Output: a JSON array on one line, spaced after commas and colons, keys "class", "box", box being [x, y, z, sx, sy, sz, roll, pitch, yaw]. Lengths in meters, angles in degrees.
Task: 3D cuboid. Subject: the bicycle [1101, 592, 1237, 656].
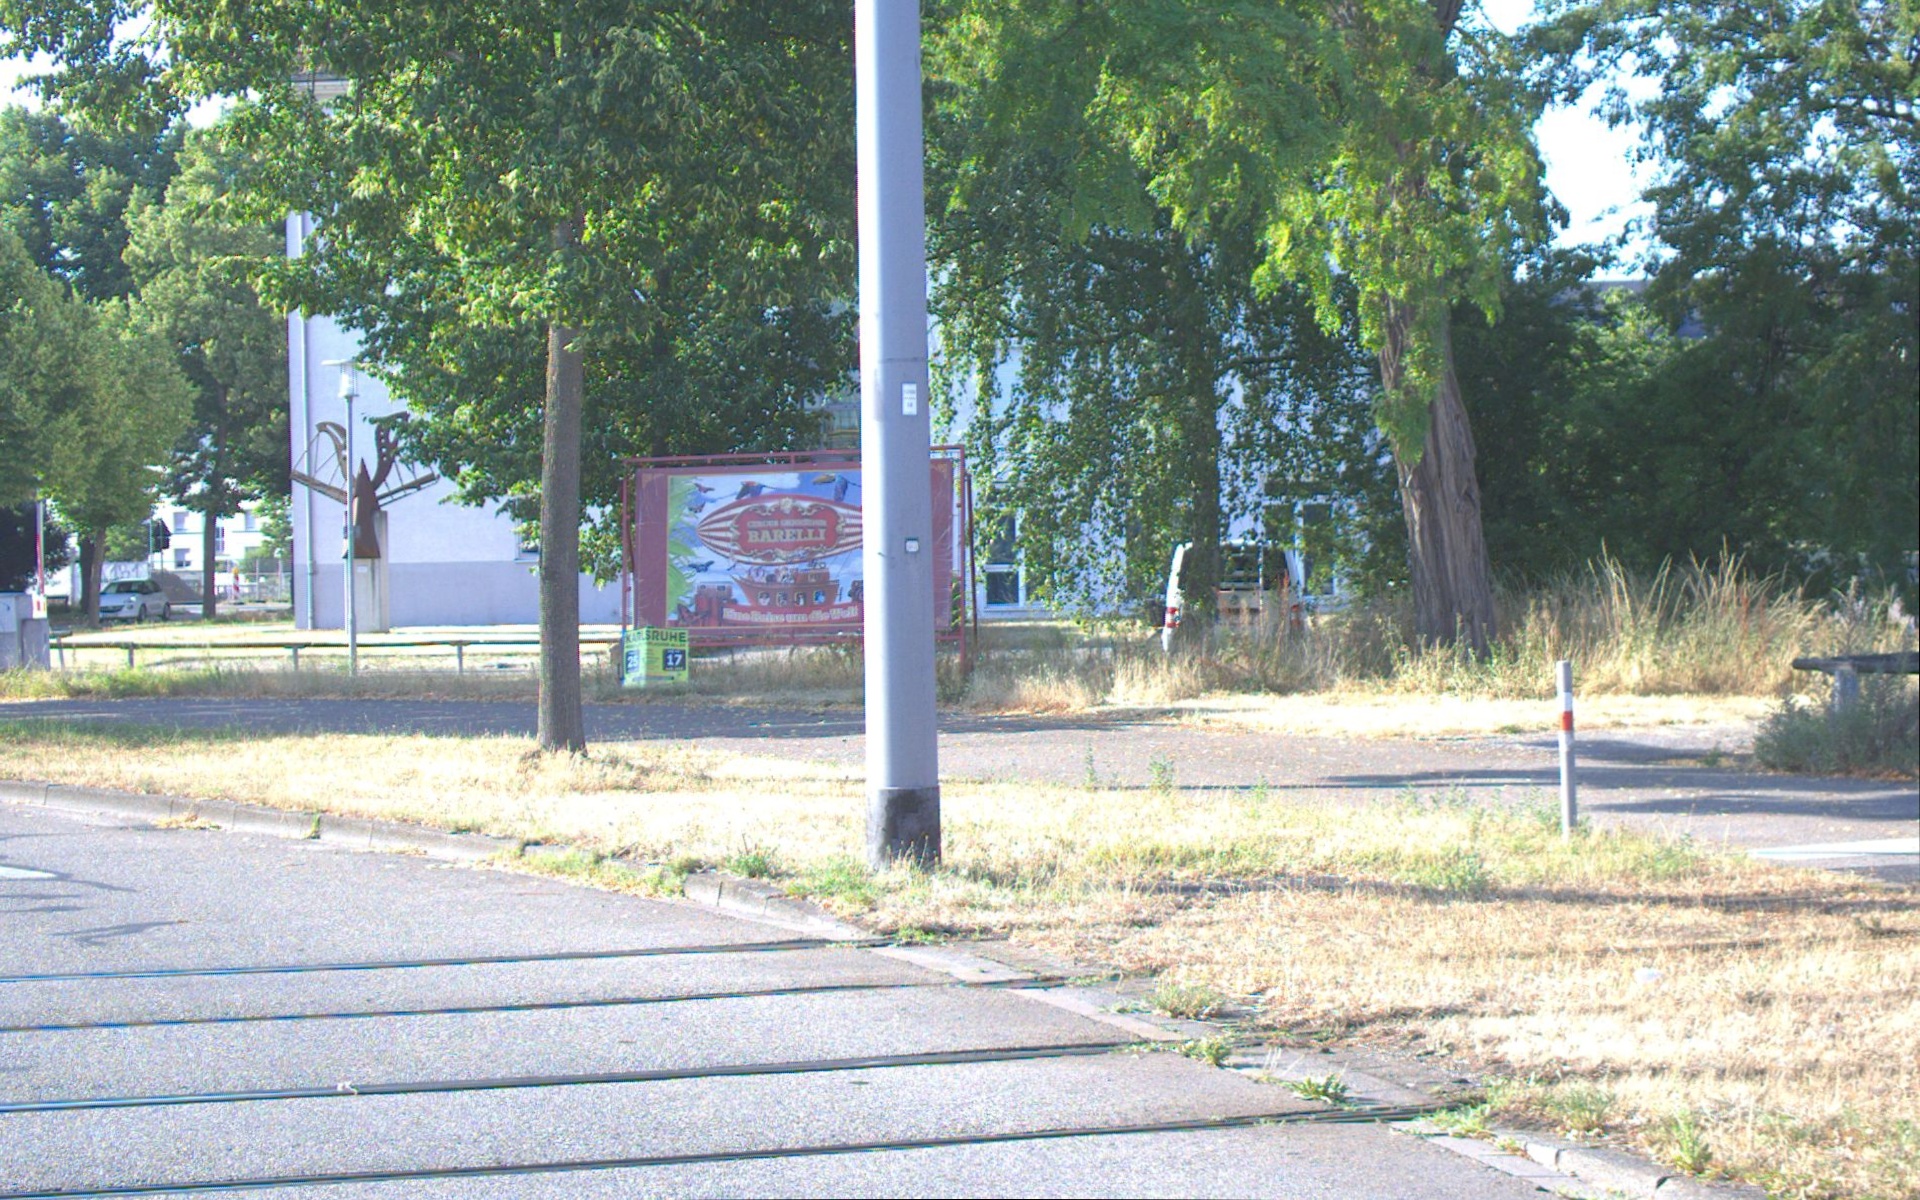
[{"class": "bicycle", "box": [3.136, 0.357, 51.634, 1.987, 0.915, 0.430, -1, 1, -1]}]

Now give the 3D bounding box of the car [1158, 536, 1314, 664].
[{"class": "car", "box": [3.727, -0.019, 45.858, 1.772, 1.612, 3.967, -1, 0, 9]}]

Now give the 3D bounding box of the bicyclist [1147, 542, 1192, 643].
[{"class": "bicyclist", "box": [3.148, -0.113, 51.626, 0.622, 1.506, 0.419, -1, 1, 0]}]

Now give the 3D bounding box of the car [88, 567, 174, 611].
[{"class": "car", "box": [-27.878, -0.381, 115.674, 1.584, 1.437, 3.551, -1, 1, 8]}]
